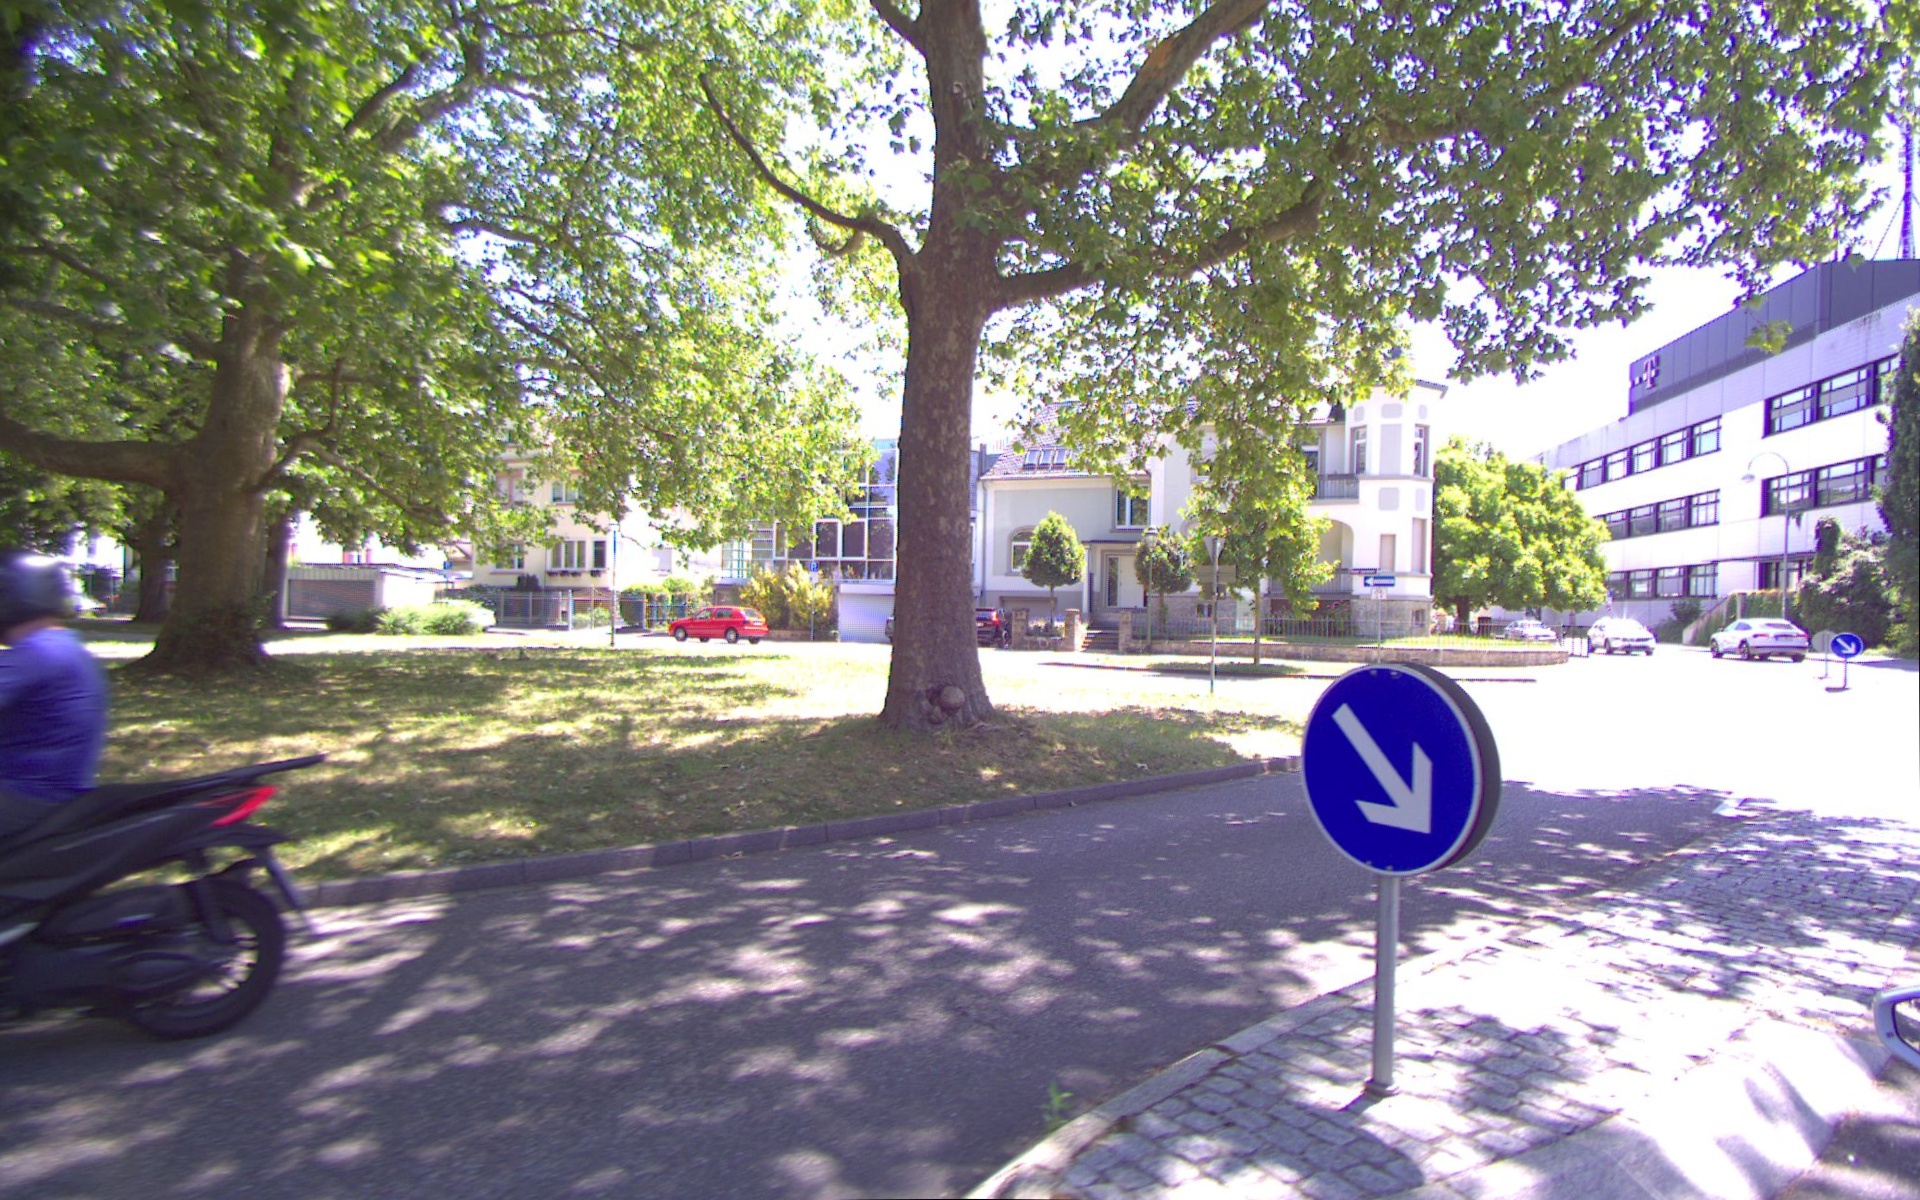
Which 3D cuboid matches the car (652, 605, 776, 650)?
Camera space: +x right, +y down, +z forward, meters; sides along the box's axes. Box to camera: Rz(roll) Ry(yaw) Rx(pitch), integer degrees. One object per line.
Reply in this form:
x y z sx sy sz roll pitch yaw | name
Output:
-9.697 1.050 39.648 4.418 1.640 1.999 1 0 22 | car

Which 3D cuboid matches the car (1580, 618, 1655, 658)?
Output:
30.251 1.714 46.337 1.841 1.645 4.304 0 0 19 | car

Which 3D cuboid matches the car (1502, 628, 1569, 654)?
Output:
33.744 2.387 59.028 1.728 1.454 4.306 -1 -1 4 | car

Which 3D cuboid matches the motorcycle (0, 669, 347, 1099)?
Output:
-3.246 0.891 3.327 2.027 1.248 0.803 1 0 -30 | motorcycle

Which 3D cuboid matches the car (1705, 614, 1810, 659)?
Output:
32.130 1.435 40.641 1.904 1.636 4.472 -1 0 19 | car

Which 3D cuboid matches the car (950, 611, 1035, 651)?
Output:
1.367 1.218 40.623 1.962 1.445 3.996 2 0 26 | car

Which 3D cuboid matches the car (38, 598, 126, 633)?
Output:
-48.122 0.828 55.073 4.420 1.802 1.999 1 0 25 | car

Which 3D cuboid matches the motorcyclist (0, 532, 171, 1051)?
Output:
-3.339 0.575 3.256 1.091 1.576 0.803 1 0 -30 | motorcyclist

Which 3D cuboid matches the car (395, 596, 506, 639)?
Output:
-23.249 0.777 45.849 4.417 1.802 2.000 1 0 19 | car

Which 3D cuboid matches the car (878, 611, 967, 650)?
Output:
-1.474 1.194 40.763 1.846 1.454 3.995 2 0 27 | car
